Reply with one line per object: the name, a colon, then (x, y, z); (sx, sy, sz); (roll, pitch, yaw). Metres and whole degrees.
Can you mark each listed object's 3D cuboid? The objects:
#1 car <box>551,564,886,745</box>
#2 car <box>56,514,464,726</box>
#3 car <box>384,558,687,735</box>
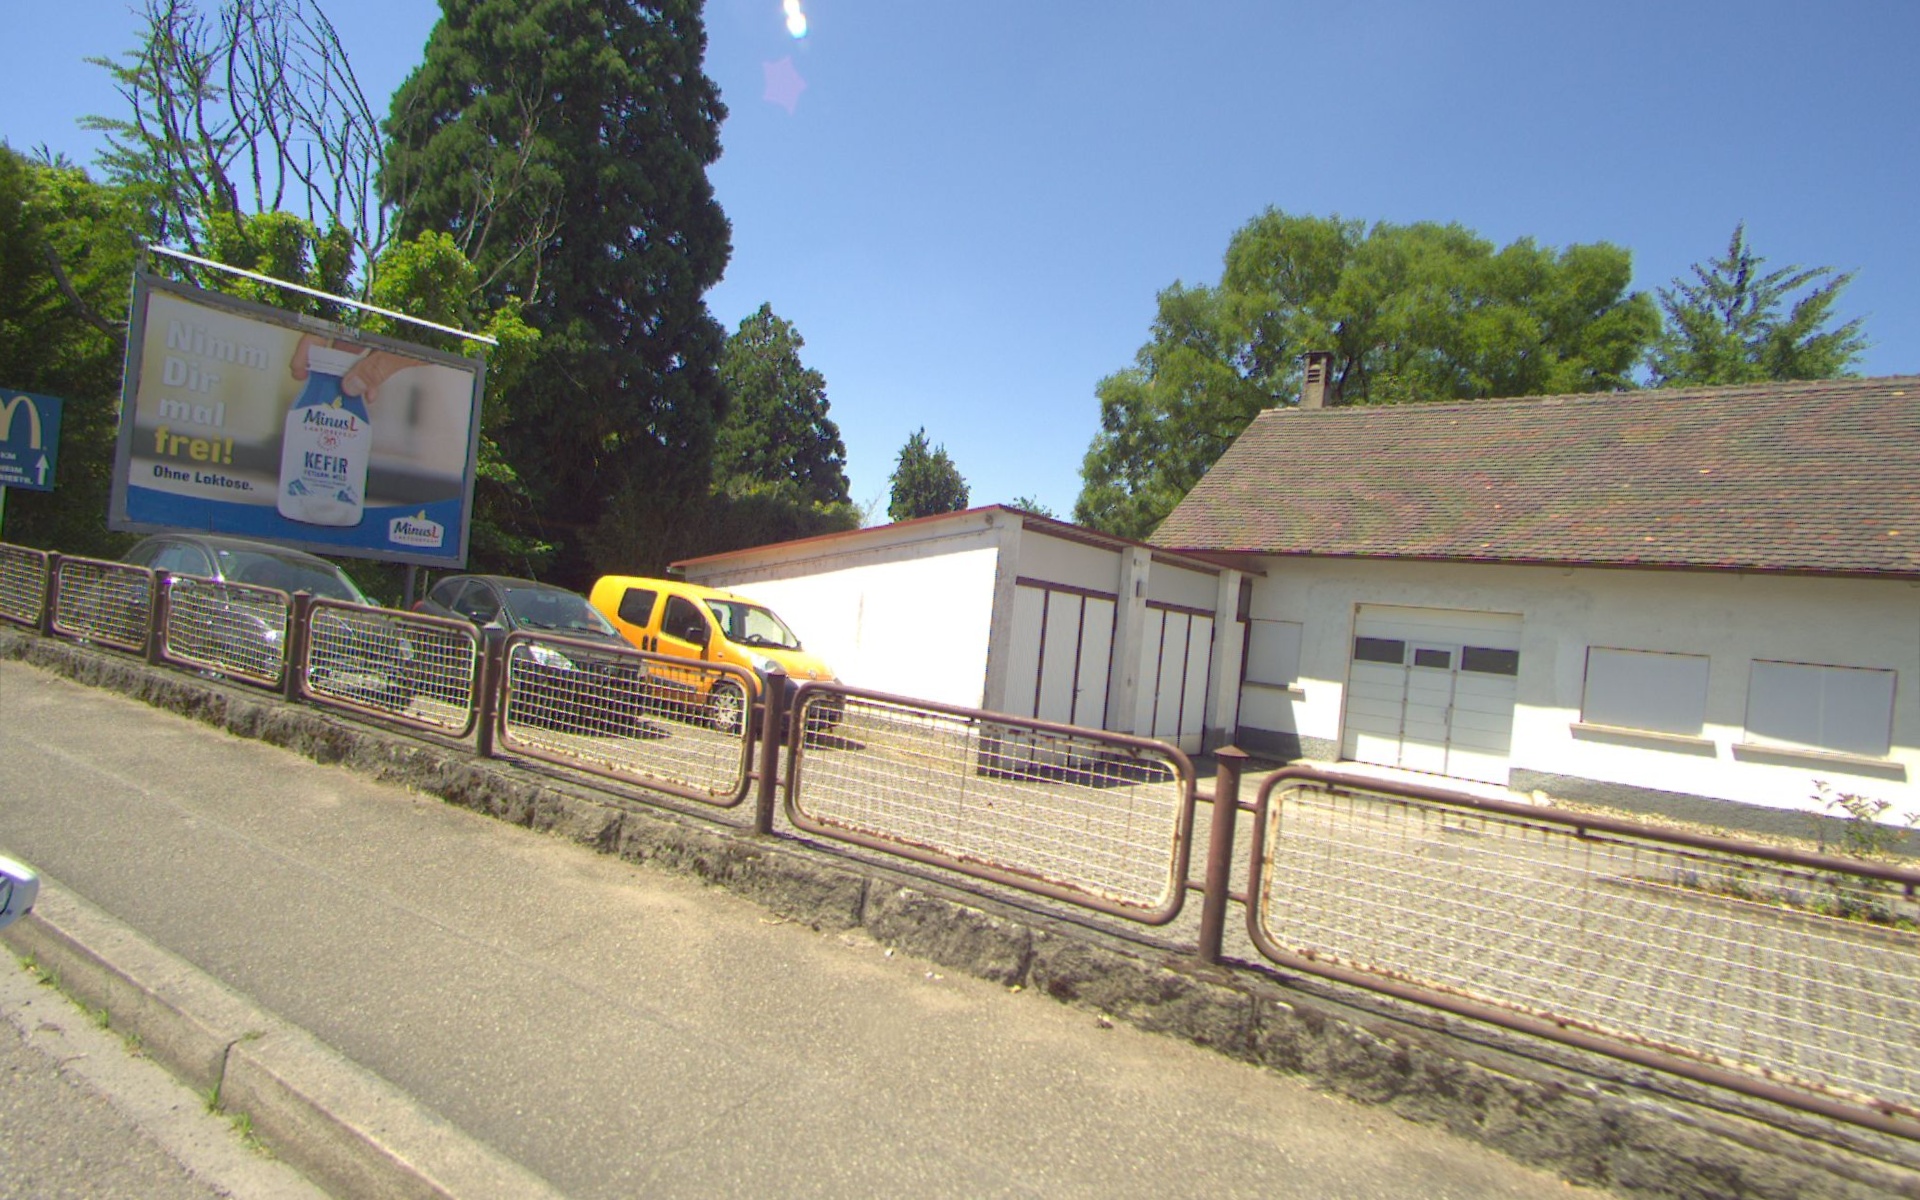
car: (-3.280, 0.707, 13.484); (4.096, 1.819, 1.780); (6, -4, 31)
car: (-6.610, 0.170, 9.462); (3.496, 1.474, 1.637); (6, -4, 29)
car: (-4.947, 0.498, 11.602); (3.342, 1.559, 1.633); (5, -5, 38)
